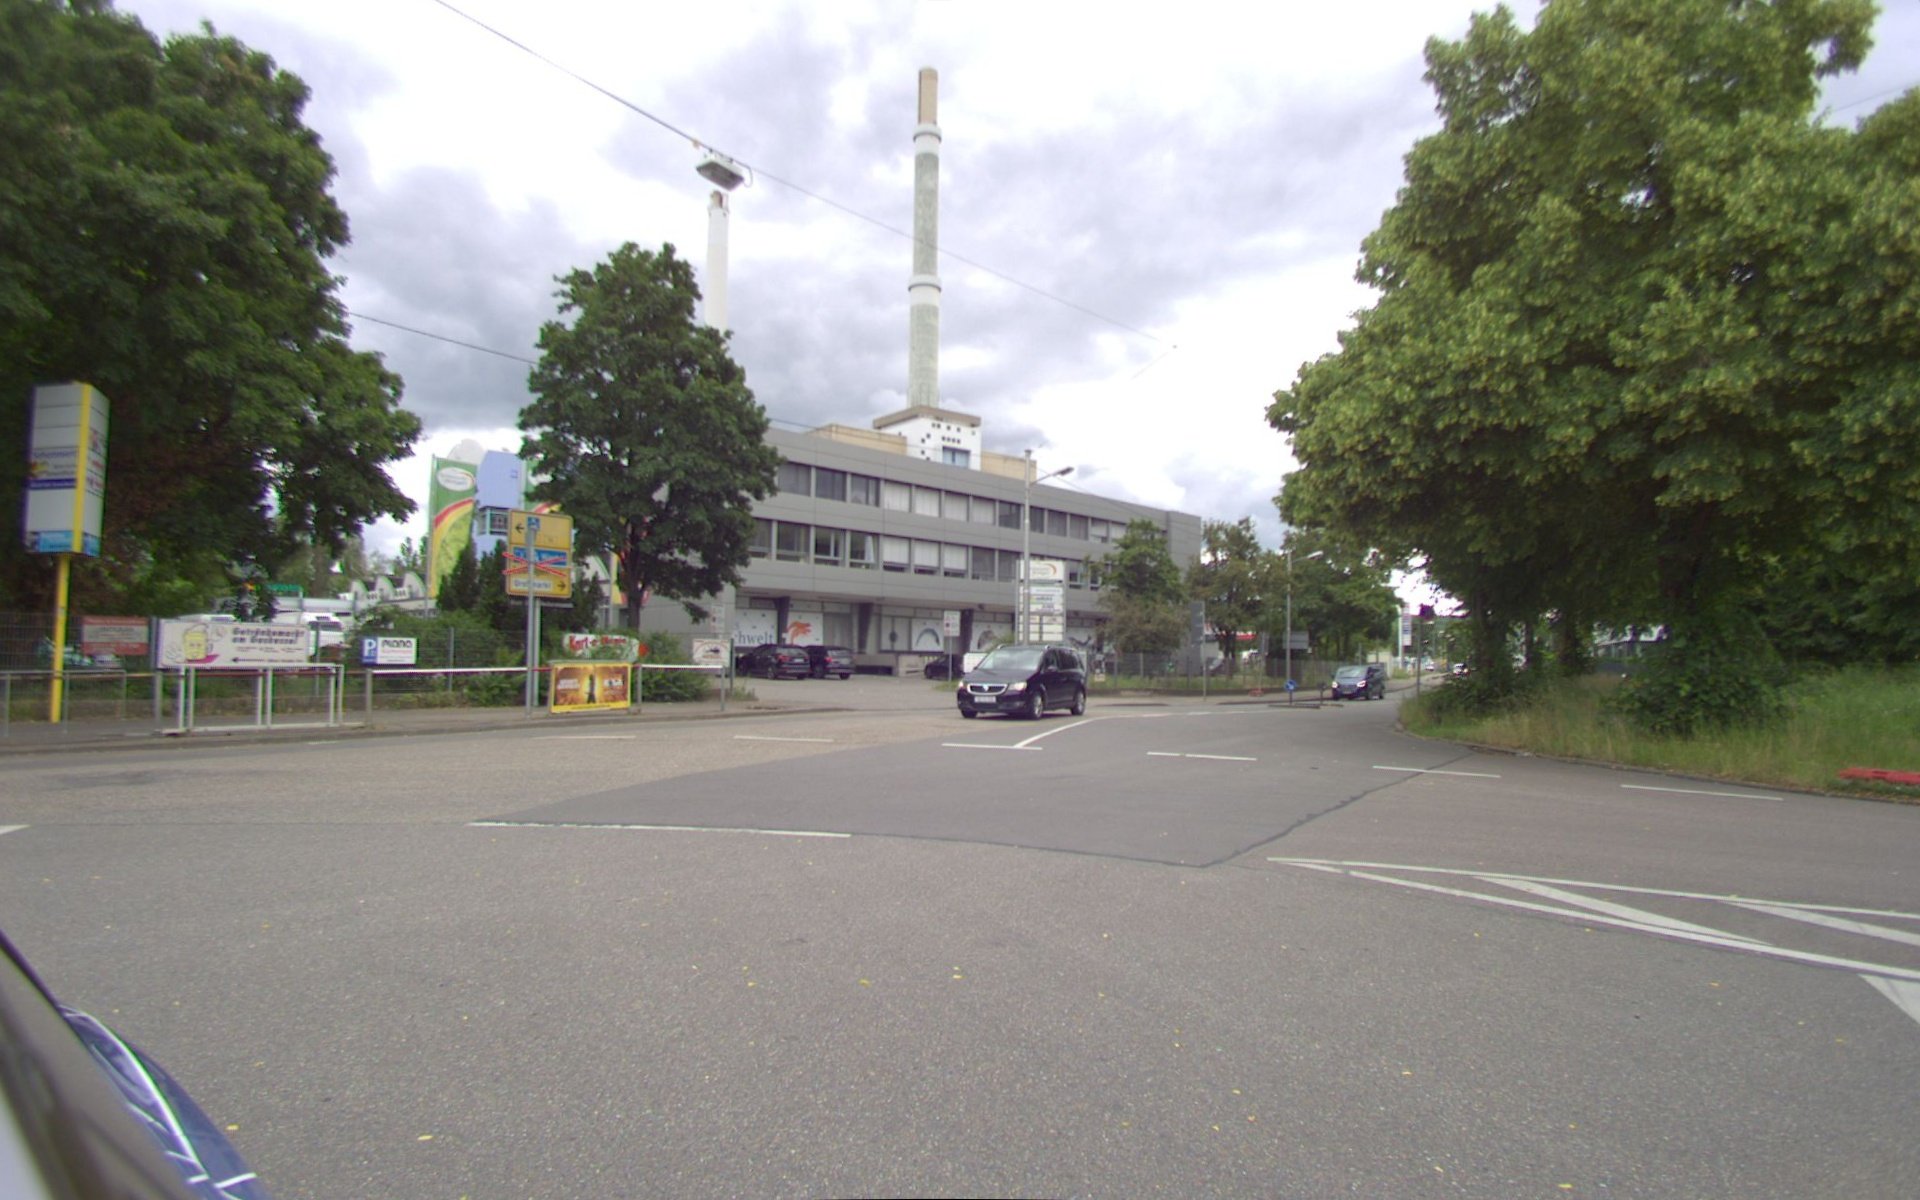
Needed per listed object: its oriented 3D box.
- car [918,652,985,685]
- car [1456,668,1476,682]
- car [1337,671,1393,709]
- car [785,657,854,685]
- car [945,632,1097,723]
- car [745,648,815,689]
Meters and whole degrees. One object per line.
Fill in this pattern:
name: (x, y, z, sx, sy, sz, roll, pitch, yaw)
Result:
car: (-0.486, 3.705, 55.091, 1.723, 1.564, 3.615, -1, 0, -42)
car: (72.382, 10.754, 144.692, 1.829, 1.960, 4.515, -2, -4, 35)
car: (22.747, 4.982, 56.698, 1.829, 1.960, 4.745, -2, -4, 35)
car: (-7.081, 3.533, 50.791, 1.750, 1.187, 3.577, -1, 0, -42)
car: (1.458, 1.740, 22.273, 1.824, 1.785, 4.190, -2, -6, 27)
car: (-8.731, 3.273, 48.962, 1.750, 1.691, 3.577, -1, 0, -42)
